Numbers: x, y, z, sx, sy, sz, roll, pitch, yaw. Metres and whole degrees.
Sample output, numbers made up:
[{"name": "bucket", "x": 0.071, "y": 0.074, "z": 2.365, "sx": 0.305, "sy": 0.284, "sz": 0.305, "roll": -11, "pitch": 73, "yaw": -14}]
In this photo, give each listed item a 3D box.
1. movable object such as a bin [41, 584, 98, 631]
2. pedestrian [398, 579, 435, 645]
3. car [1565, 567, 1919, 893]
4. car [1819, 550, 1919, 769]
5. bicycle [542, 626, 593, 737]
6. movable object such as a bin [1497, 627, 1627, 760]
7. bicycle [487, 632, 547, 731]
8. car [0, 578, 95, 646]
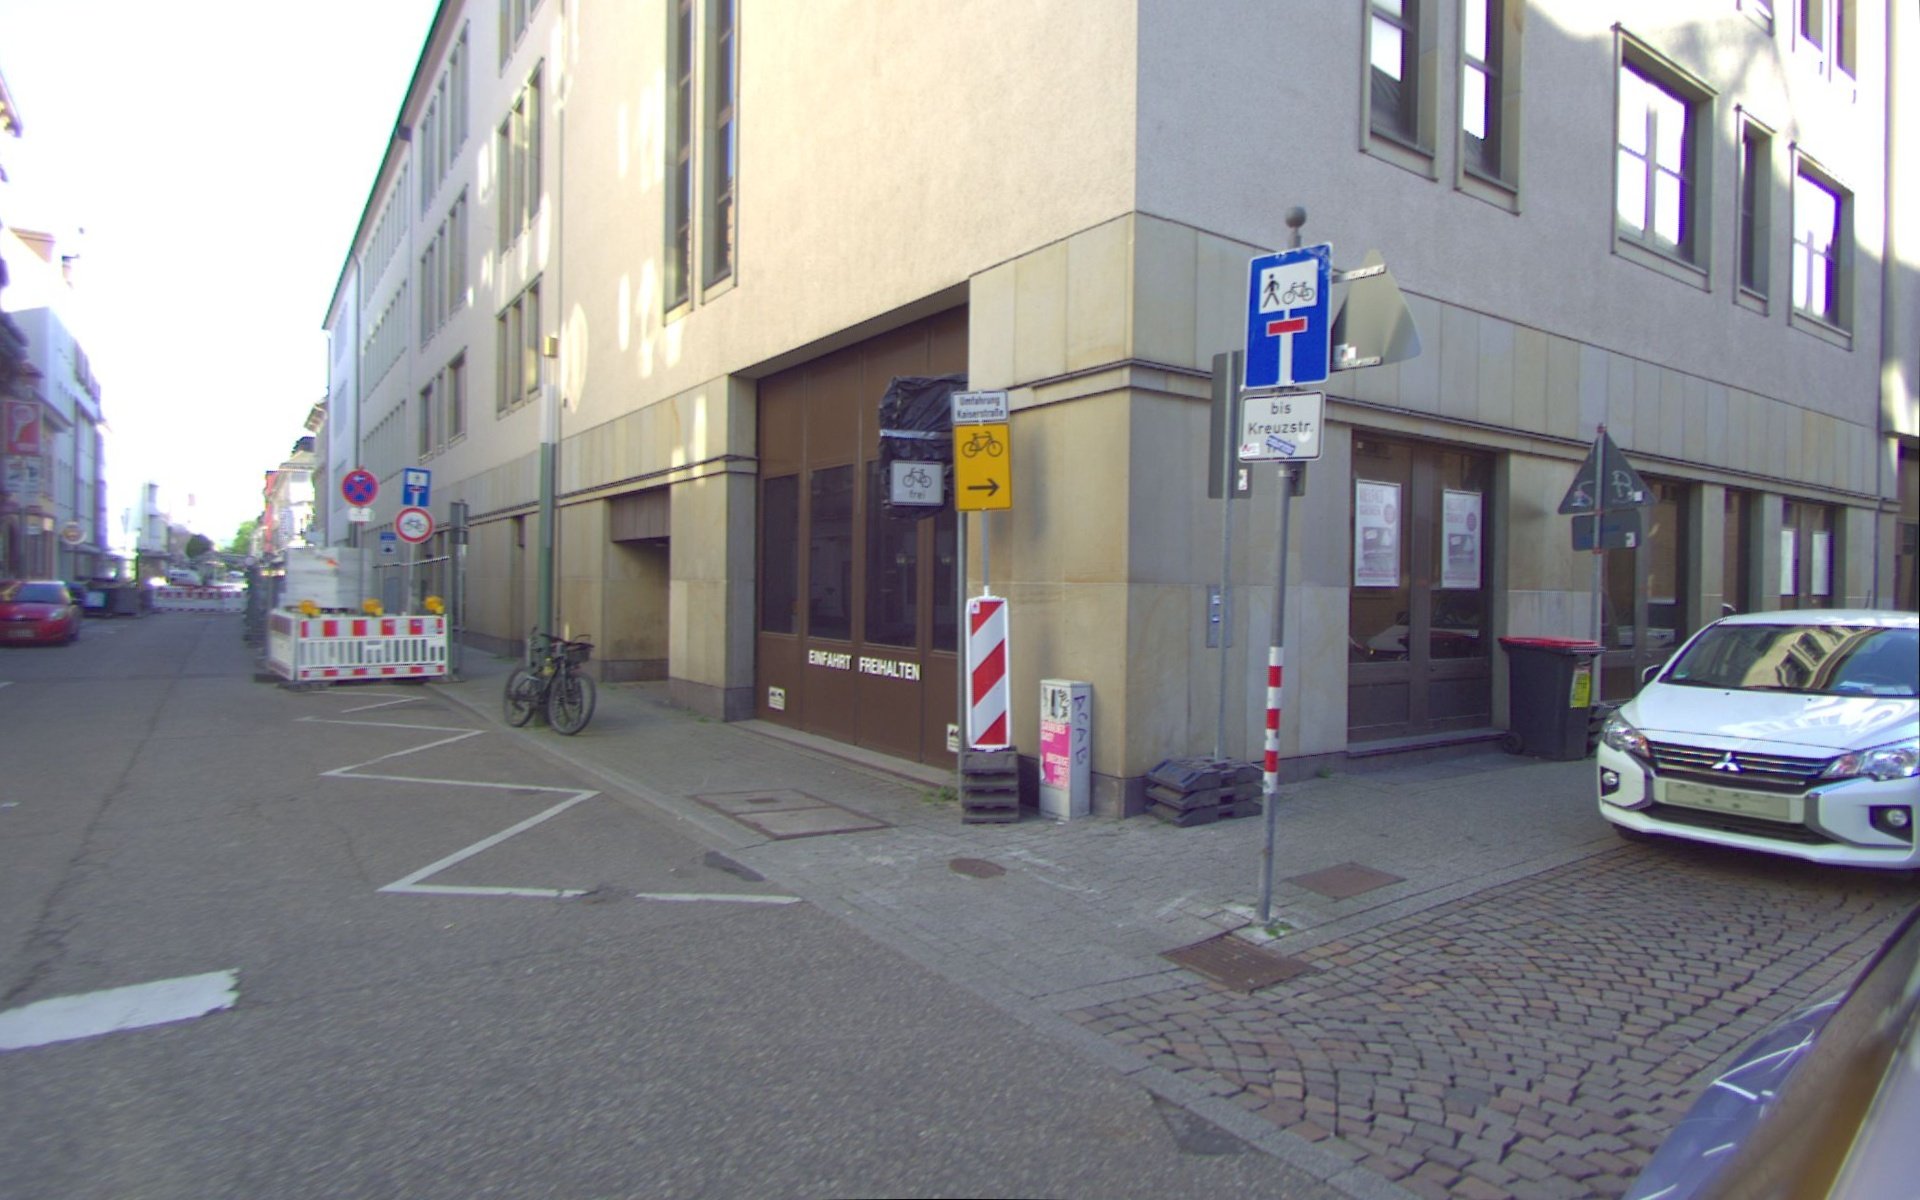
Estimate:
[{"name": "movable object such as a bin", "x": -27.491, "y": 0.220, "z": 31.277, "sx": 1.032, "sy": 1.408, "sz": 2.001, "roll": 1, "pitch": 0, "yaw": -33}, {"name": "pedestrian", "x": -13.381, "y": 0.285, "z": 24.896, "sx": 0.709, "sy": 1.606, "sz": 0.638, "roll": 1, "pitch": 0, "yaw": -37}, {"name": "car", "x": 5.779, "y": 0.639, "z": 6.646, "sx": 3.925, "sy": 1.568, "sz": 1.736, "roll": 1, "pitch": -1, "yaw": -37}, {"name": "car", "x": 10.625, "y": 0.494, "z": 9.760, "sx": 5.091, "sy": 1.886, "sz": 1.949, "roll": 0, "pitch": -4, "yaw": -31}, {"name": "bicycle", "x": -4.315, "y": 0.844, "z": 11.094, "sx": 0.477, "sy": 1.087, "sz": 1.655, "roll": 1, "pitch": 0, "yaw": -22}, {"name": "movable object such as a bin", "x": 5.410, "y": 0.807, "z": 9.097, "sx": 0.911, "sy": 1.100, "sz": 0.688, "roll": 1, "pitch": -1, "yaw": -35}, {"name": "bicycle", "x": -5.092, "y": 0.904, "z": 11.676, "sx": 0.460, "sy": 1.020, "sz": 1.425, "roll": 0, "pitch": 0, "yaw": -17}, {"name": "car", "x": -21.931, "y": 0.241, "z": 23.837, "sx": 1.880, "sy": 1.497, "sz": 3.804, "roll": 0, "pitch": 0, "yaw": -33}]
